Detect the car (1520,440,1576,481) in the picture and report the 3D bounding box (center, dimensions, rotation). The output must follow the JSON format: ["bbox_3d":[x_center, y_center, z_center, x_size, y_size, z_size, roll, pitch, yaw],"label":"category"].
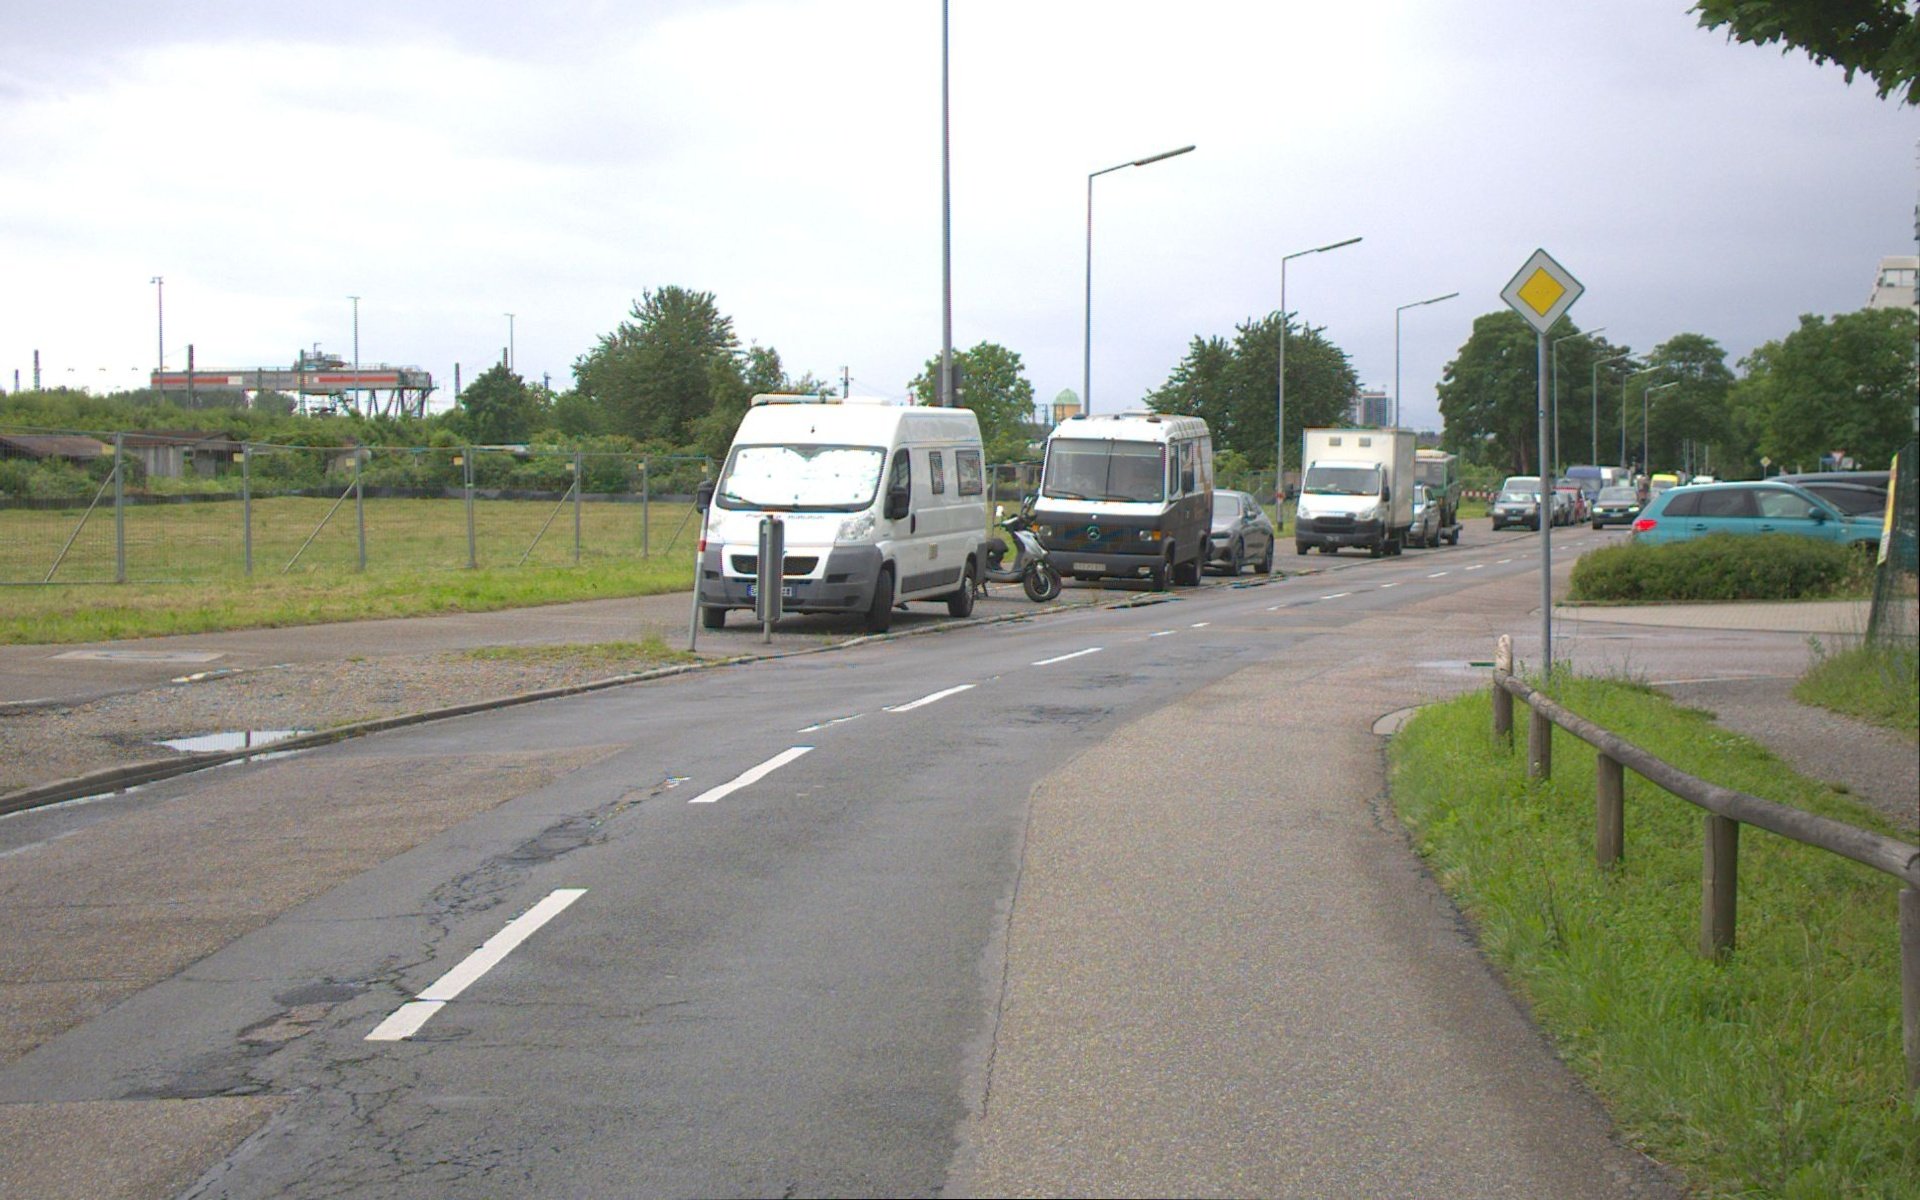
[{"bbox_3d":[22.611,-5.370,132.040,1.756,1.519,3.998,1,3,15],"label":"car"}]

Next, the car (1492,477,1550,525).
[{"bbox_3d":[20.424,-3.610,125.047,1.650,1.657,3.573,1,3,16],"label":"car"}]

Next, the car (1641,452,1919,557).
[{"bbox_3d":[12.867,-1.468,52.181,4.864,1.495,1.841,1,3,14],"label":"car"}]

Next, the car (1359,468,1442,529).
[{"bbox_3d":[11.693,-2.713,91.093,1.756,1.519,3.998,1,3,14],"label":"car"}]

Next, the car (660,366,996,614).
[{"bbox_3d":[-1.341,-1.292,38.678,2.290,2.546,6.408,1,3,12],"label":"car"}]

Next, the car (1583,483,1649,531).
[{"bbox_3d":[24.631,-3.505,128.948,2.044,1.657,4.104,1,3,16],"label":"car"}]

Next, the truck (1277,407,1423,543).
[{"bbox_3d":[9.327,-3.007,81.523,2.463,3.049,8.158,1,3,13],"label":"truck"}]

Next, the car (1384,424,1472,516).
[{"bbox_3d":[13.420,-3.743,98.429,2.006,2.565,4.784,1,3,14],"label":"car"}]

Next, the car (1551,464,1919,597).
[{"bbox_3d":[10.271,-0.934,44.982,4.864,1.610,1.841,1,3,14],"label":"car"}]

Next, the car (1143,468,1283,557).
[{"bbox_3d":[4.582,-1.601,61.750,1.781,1.499,3.998,1,3,15],"label":"car"}]

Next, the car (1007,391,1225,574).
[{"bbox_3d":[2.569,-1.935,54.762,2.302,2.724,6.089,1,3,14],"label":"car"}]

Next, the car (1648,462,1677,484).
[{"bbox_3d":[49.992,-9.045,244.505,1.756,1.519,3.998,1,3,15],"label":"car"}]

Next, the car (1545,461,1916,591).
[{"bbox_3d":[10.610,-1.042,47.428,4.864,1.657,1.841,1,3,14],"label":"car"}]

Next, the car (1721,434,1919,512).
[{"bbox_3d":[19.230,-2.851,76.768,4.329,1.713,1.999,1,3,13],"label":"car"}]

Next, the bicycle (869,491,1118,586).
[{"bbox_3d":[0.465,-0.845,46.396,3.122,1.195,1.364,1,3,13],"label":"bicycle"}]
